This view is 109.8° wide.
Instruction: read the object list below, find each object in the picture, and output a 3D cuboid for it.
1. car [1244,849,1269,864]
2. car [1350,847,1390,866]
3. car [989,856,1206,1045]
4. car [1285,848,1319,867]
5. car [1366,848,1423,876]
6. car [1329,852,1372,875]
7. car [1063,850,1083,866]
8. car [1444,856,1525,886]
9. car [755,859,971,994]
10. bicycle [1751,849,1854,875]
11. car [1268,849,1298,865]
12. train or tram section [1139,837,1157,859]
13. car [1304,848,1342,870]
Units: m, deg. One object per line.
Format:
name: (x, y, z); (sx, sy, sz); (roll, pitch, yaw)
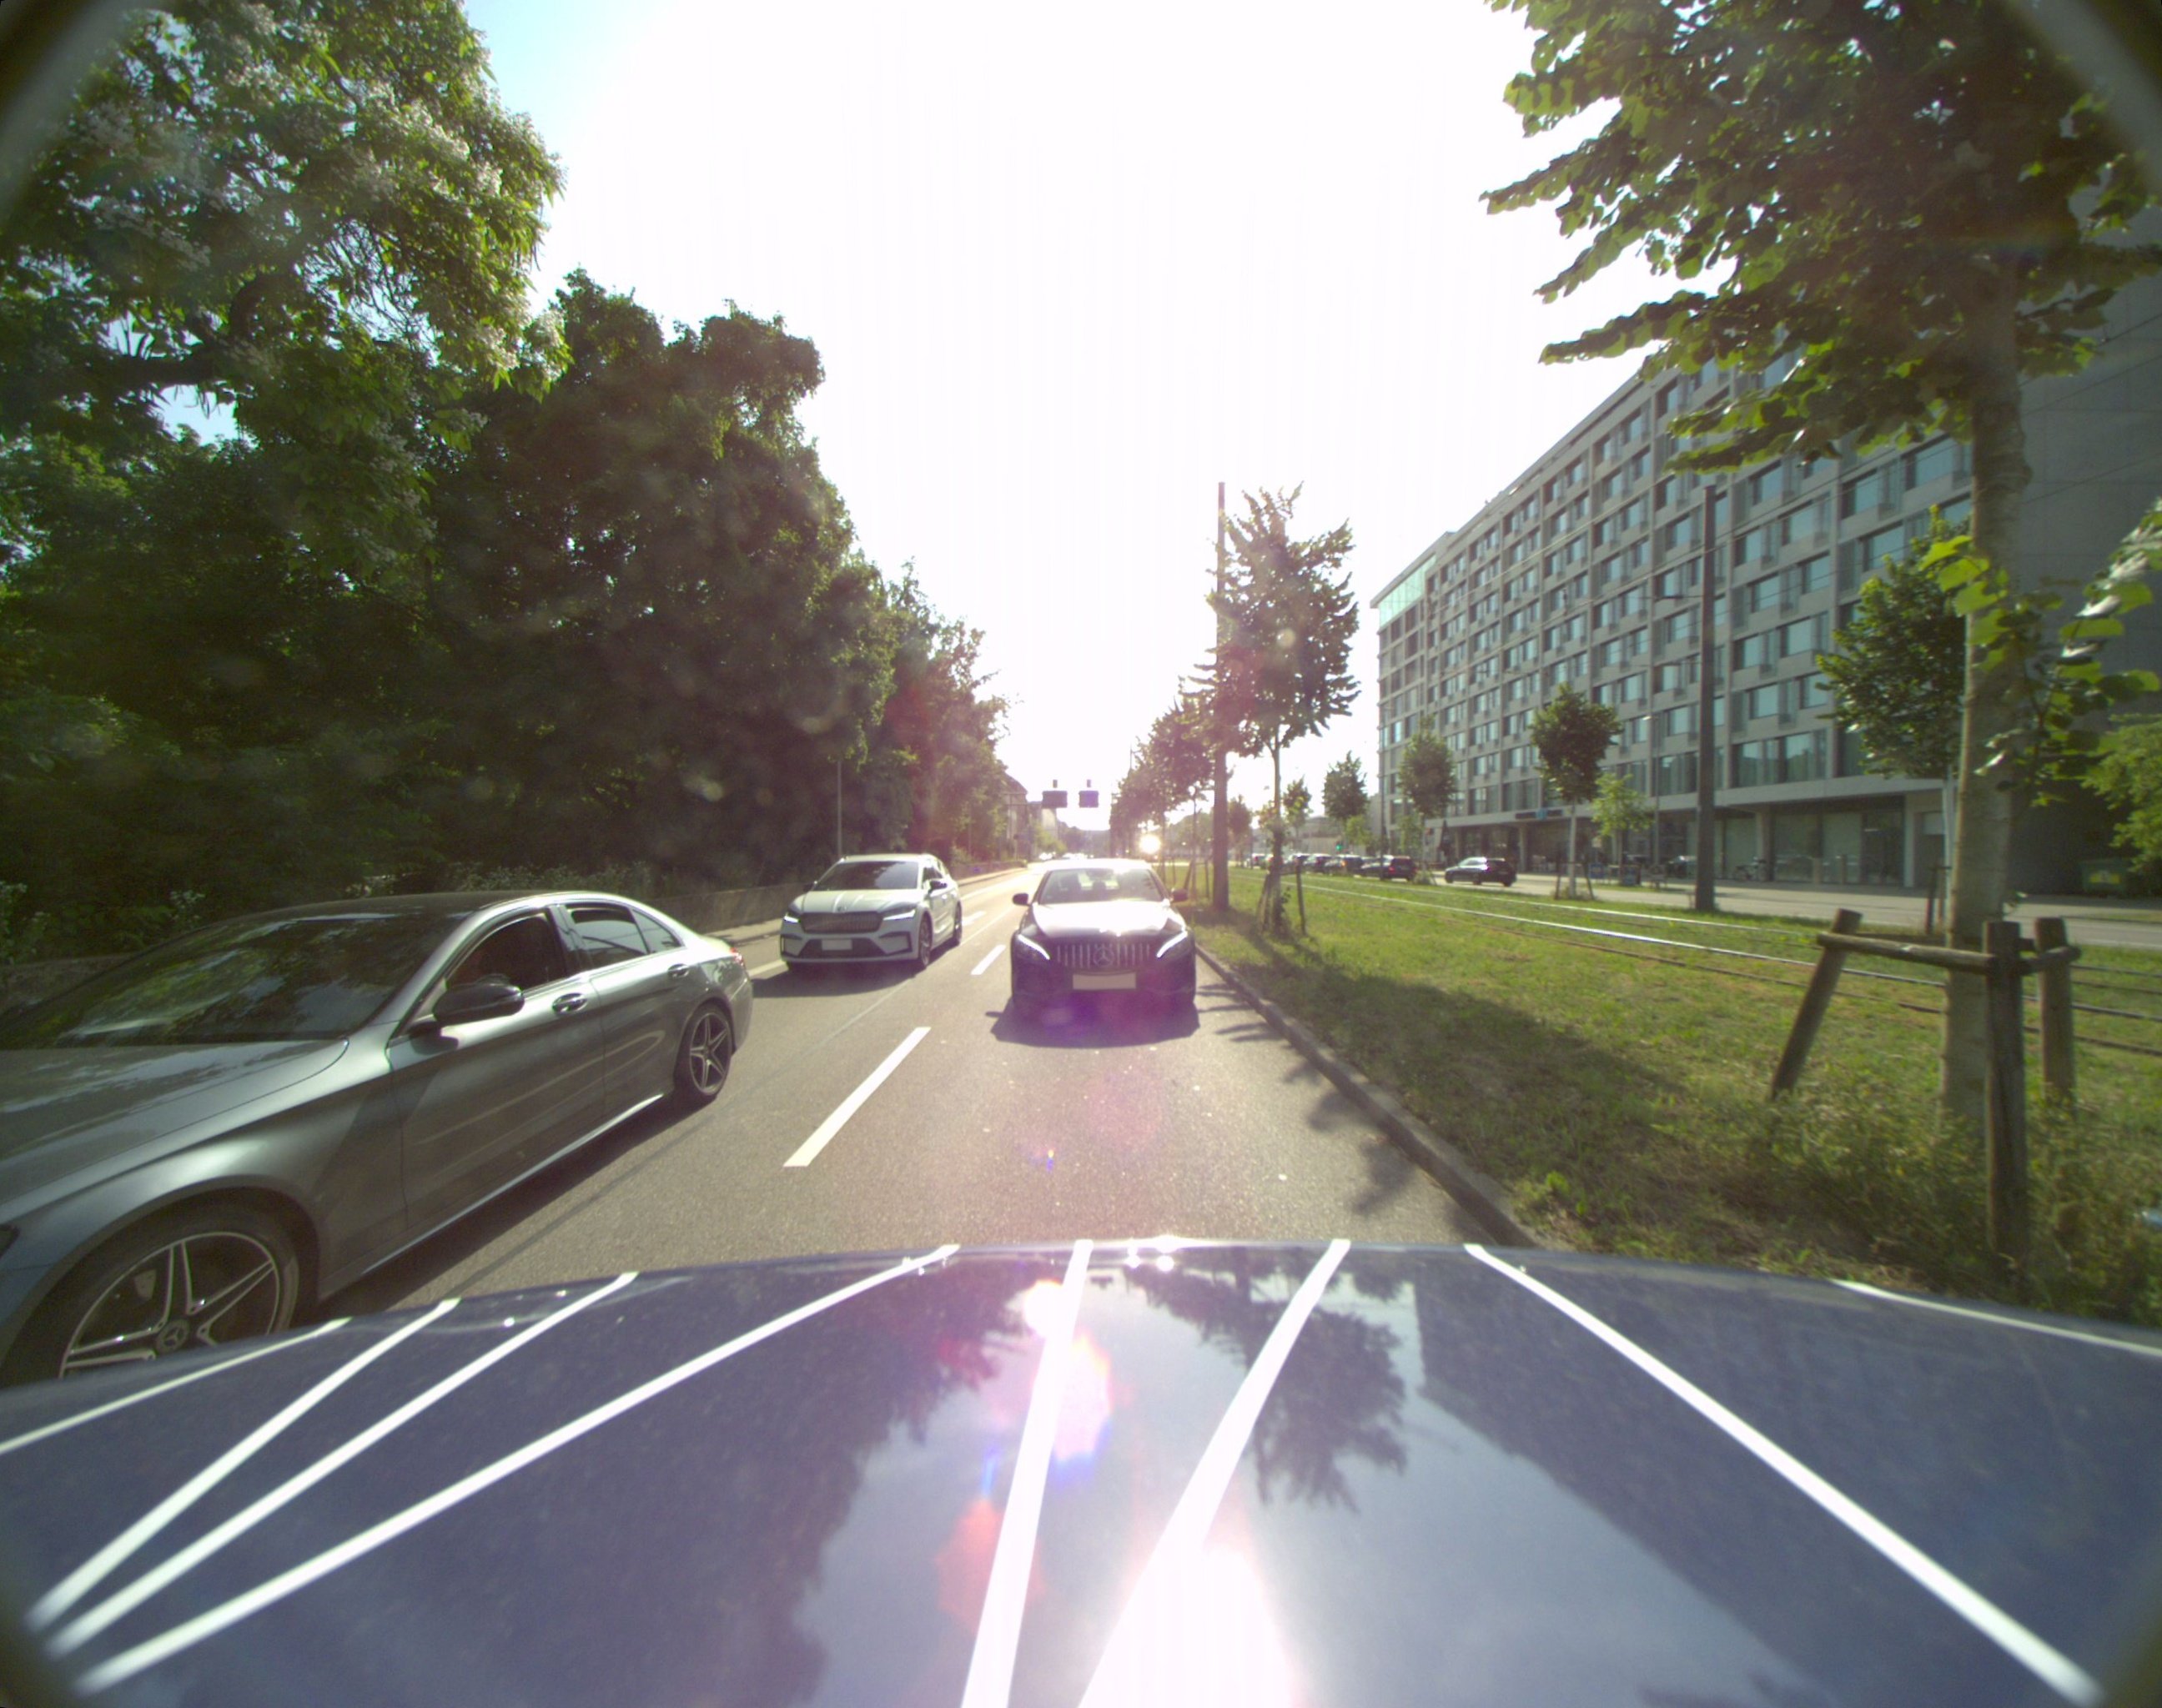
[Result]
car: (18.425, 0.202, 79.720); (1.787, 1.516, 4.000); (0, 1, 1)
car: (24.413, 0.180, 64.303); (1.998, 1.565, 4.001); (0, 1, 3)
car: (0.197, 0.815, 8.630); (1.759, 1.437, 4.617); (-2, 1, 2)
car: (18.190, 0.276, 62.673); (1.811, 1.565, 4.001); (0, 1, 3)
car: (17.795, 0.417, 43.325); (1.811, 1.472, 4.001); (0, 1, 3)
car: (17.954, 0.614, 50.817); (1.745, 1.478, 3.642); (0, 1, 3)
car: (-0.821, 0.390, 79.511); (1.998, 1.630, 4.000); (0, 0, 1)
car: (21.373, 0.862, 40.469); (1.998, 1.482, 4.419); (0, 1, 1)
car: (-2.980, 0.906, 11.449); (1.897, 1.561, 4.250); (-1, 0, 1)
bicycle: (38.296, 0.407, 40.395); (3.993, 1.358, 1.127); (0, 1, 10)
car: (18.321, 0.235, 69.042); (1.811, 1.466, 4.001); (0, 1, 3)
train or tram section: (10.456, -0.915, 119.258); (2.500, 3.409, 6.669); (0, 0, 2)
car: (18.143, 0.346, 57.196); (1.811, 1.565, 4.001); (0, 1, 3)
